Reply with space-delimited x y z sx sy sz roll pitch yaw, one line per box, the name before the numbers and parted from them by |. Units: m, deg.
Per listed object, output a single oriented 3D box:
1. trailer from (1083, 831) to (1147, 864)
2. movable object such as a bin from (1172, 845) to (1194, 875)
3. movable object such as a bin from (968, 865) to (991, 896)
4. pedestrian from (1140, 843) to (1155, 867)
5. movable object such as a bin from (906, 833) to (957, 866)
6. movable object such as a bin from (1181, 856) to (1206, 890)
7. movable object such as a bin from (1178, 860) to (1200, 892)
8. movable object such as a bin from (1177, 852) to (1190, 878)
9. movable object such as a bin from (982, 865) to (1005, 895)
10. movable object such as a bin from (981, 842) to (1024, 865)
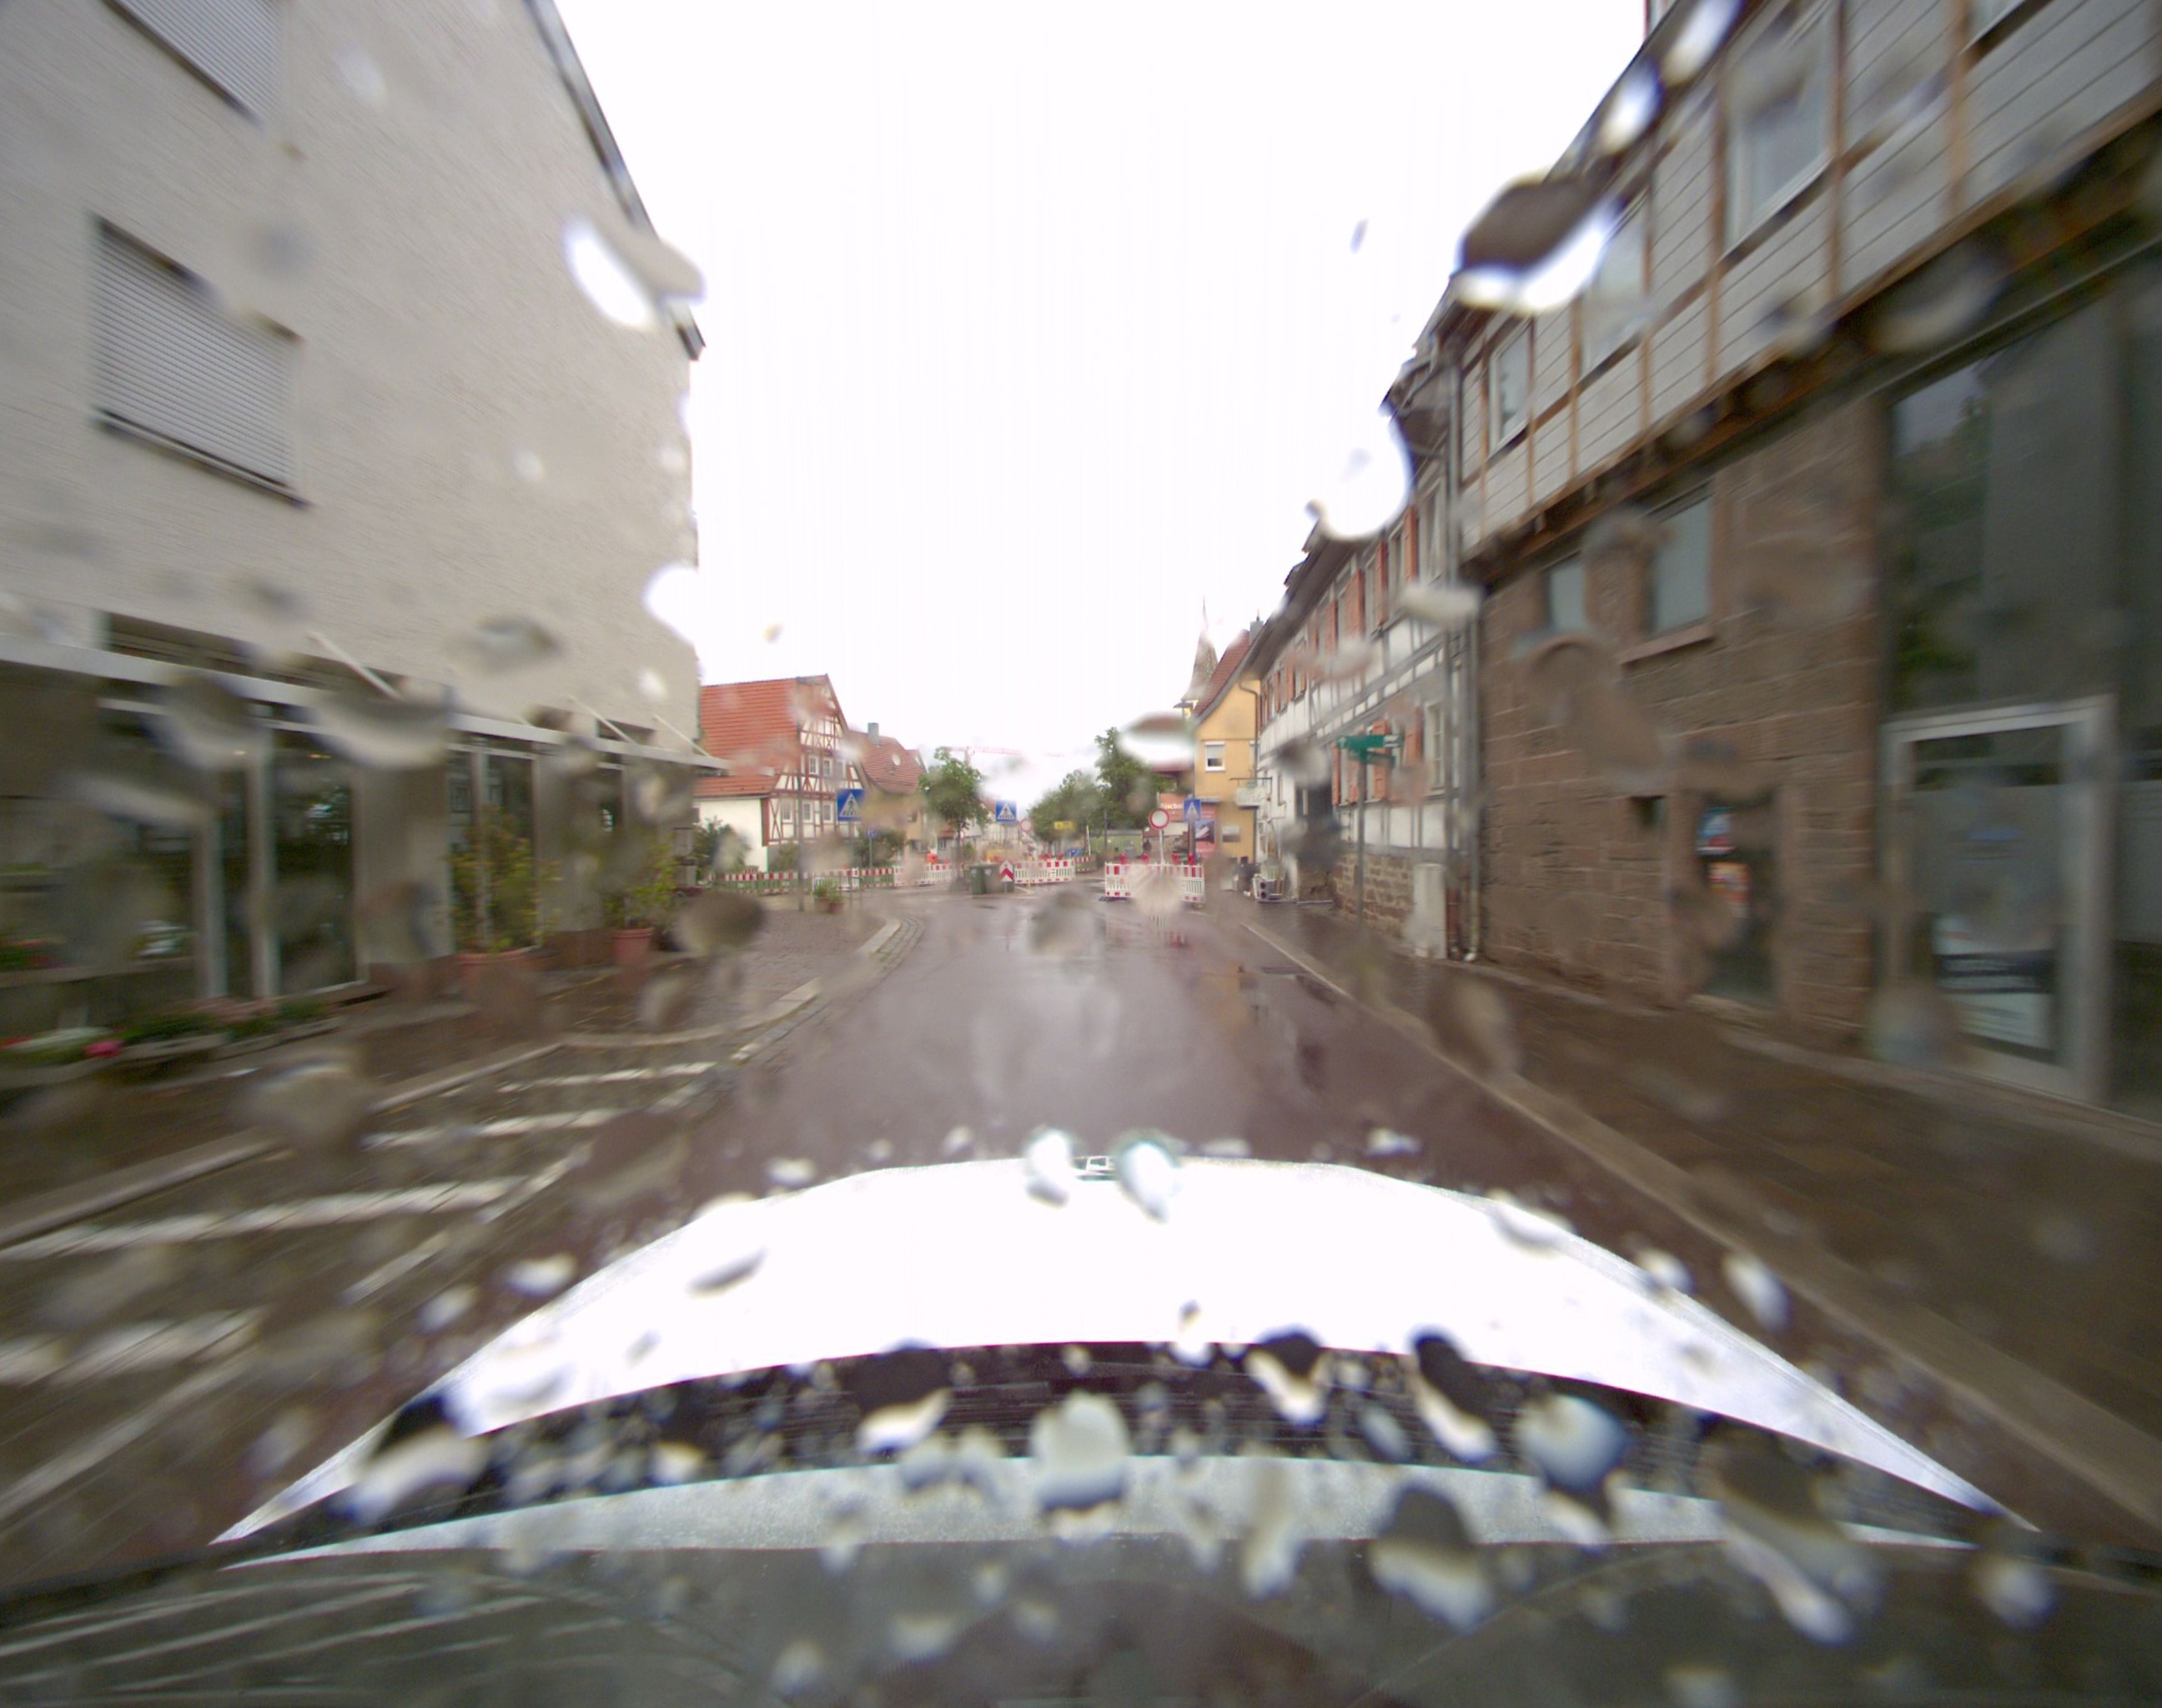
trailer | 3.090 -0.582 75.375 5.768 2.947 1.998 0 -1 -3
movable object such as a bin | 5.616 0.316 44.645 1.059 1.512 1.246 -4 0 9
movable object such as a bin | -3.583 0.937 28.832 0.535 1.037 0.576 -3 -2 35
pedestrian | 4.783 0.069 58.868 0.988 1.759 0.850 0 -1 -4
movable object such as a bin | -9.741 -0.278 53.397 1.893 2.014 4.012 -3 -1 11
movable object such as a bin | 3.707 0.608 26.839 0.677 1.066 0.539 -2 1 -5
movable object such as a bin | 3.646 0.746 27.552 0.611 1.066 0.542 -3 -1 18
movable object such as a bin | 4.778 0.515 37.943 0.515 1.132 0.581 -4 1 5
movable object such as a bin | -3.054 0.903 28.481 0.538 1.033 0.538 -3 -2 35
movable object such as a bin | -7.058 -0.017 73.932 3.388 2.014 3.482 0 0 3
